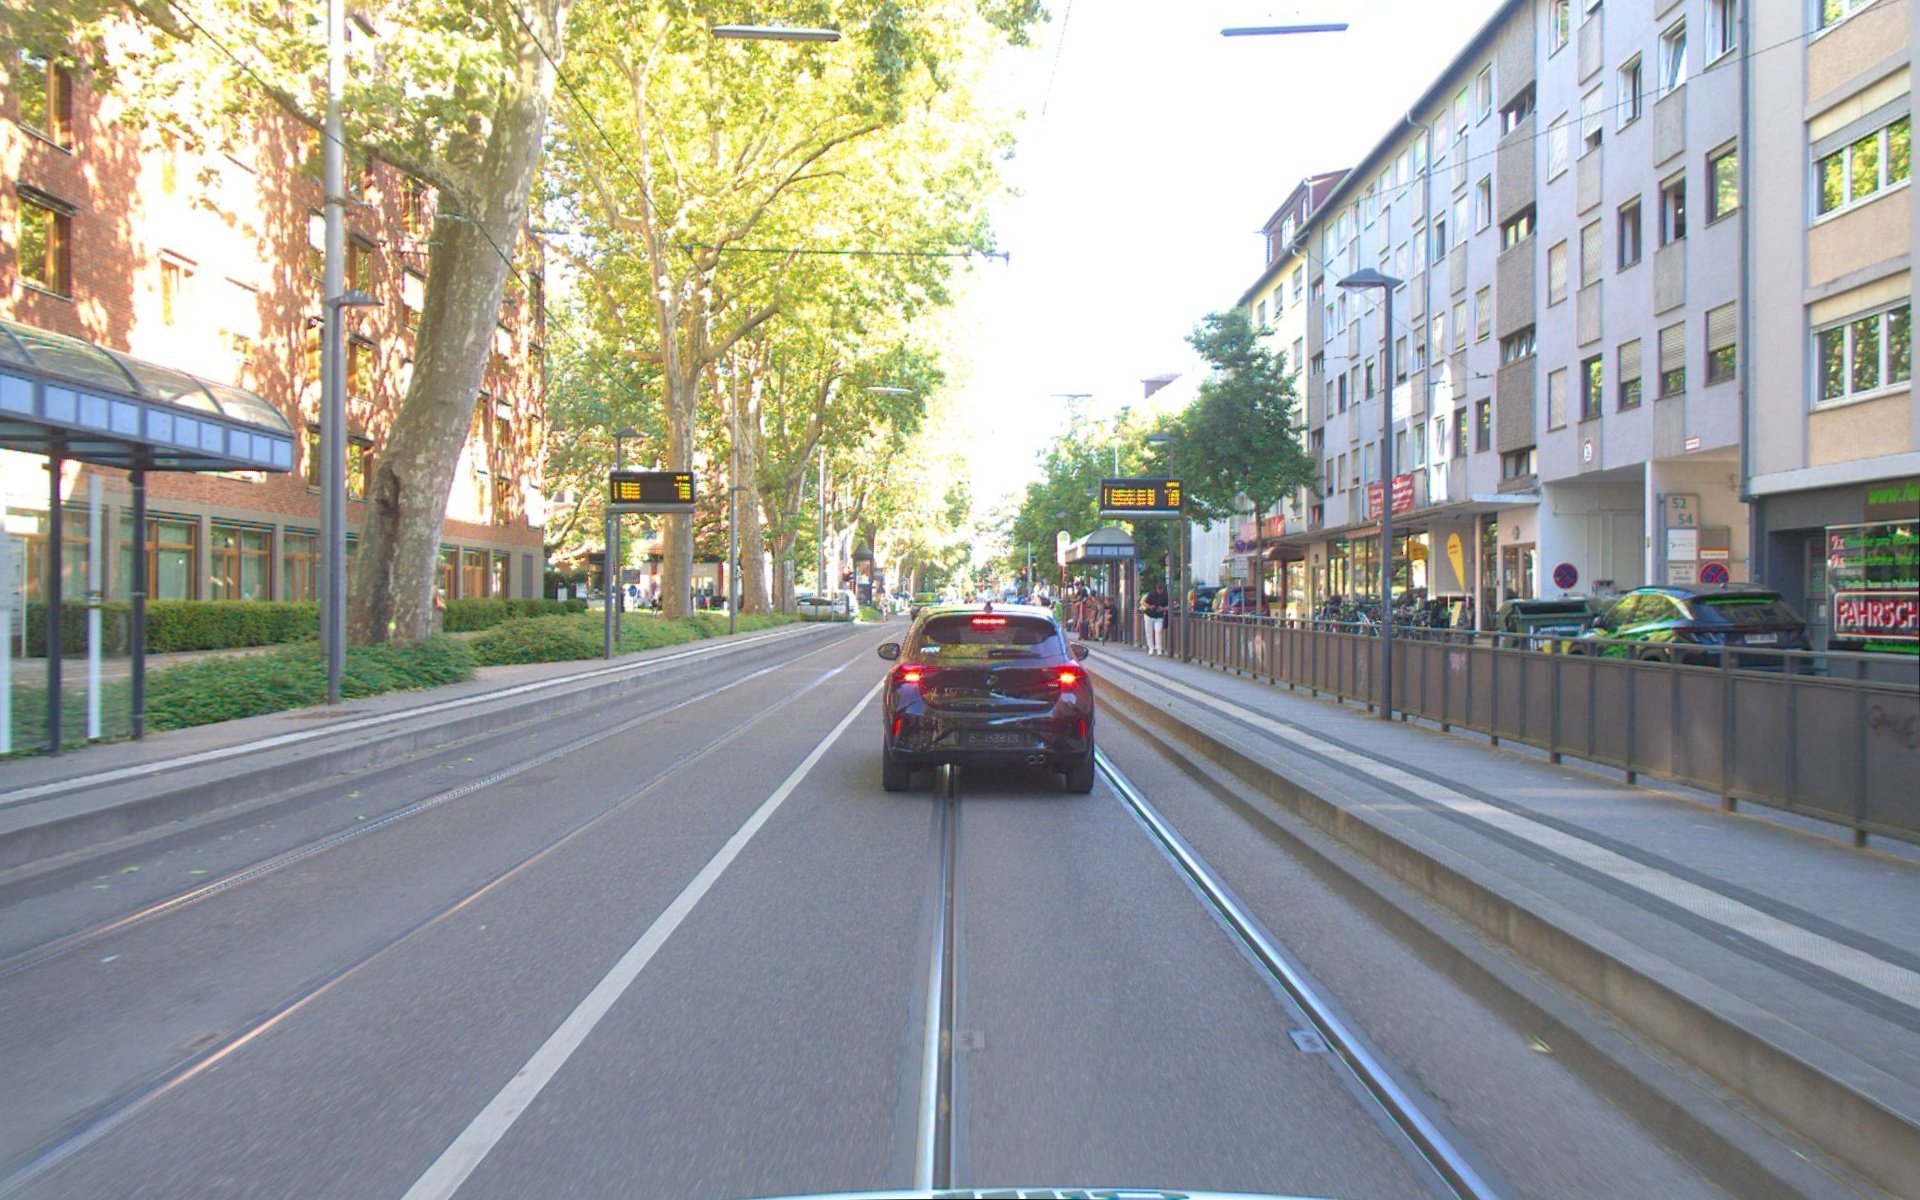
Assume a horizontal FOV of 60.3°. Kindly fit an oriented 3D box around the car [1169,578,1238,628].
[{"bbox_3d":[9.224,0.124,62.955,1.953,1.829,3.999,1,0,-1],"label":"car"}]

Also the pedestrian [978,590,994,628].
[{"bbox_3d":[1.421,0.494,89.523,0.661,2.049,0.702,2,0,11],"label":"pedestrian"}]

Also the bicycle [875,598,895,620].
[{"bbox_3d":[-4.536,0.541,100.123,0.935,1.262,2.978,1,0,3],"label":"bicycle"}]

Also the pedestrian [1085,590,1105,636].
[{"bbox_3d":[3.883,0.370,47.446,0.493,1.327,0.428,1,-1,-4],"label":"pedestrian"}]

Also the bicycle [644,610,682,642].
[{"bbox_3d":[-11.759,1.016,65.591,0.935,1.262,2.977,1,0,0],"label":"bicycle"}]

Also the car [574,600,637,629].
[{"bbox_3d":[-26.051,1.093,121.663,4.163,2.049,2.000,1,-1,-1],"label":"car"}]

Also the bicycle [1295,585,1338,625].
[{"bbox_3d":[10.581,0.162,49.089,0.586,1.156,2.201,1,0,-6],"label":"bicycle"}]

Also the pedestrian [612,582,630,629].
[{"bbox_3d":[-14.395,0.227,70.160,0.486,1.984,0.675,1,-1,12],"label":"pedestrian"}]

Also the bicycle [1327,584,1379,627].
[{"bbox_3d":[11.075,0.155,46.685,0.586,1.156,2.198,1,0,-11],"label":"bicycle"}]

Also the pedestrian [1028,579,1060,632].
[{"bbox_3d":[2.778,0.171,54.811,0.736,1.739,0.761,0,-1,34],"label":"pedestrian"}]

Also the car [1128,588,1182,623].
[{"bbox_3d":[8.829,0.240,75.006,1.953,1.512,4.000,1,0,0],"label":"car"}]

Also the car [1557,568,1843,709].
[{"bbox_3d":[9.634,0.472,21.946,1.819,1.644,4.397,1,0,0],"label":"car"}]

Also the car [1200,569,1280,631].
[{"bbox_3d":[9.495,0.009,56.342,1.953,1.986,3.999,1,0,-1],"label":"car"}]

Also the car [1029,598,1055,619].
[{"bbox_3d":[6.893,0.714,139.613,1.953,1.661,4.000,1,0,0],"label":"car"}]

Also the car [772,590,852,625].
[{"bbox_3d":[-7.729,0.409,86.141,4.036,1.731,1.880,1,-1,-8],"label":"car"}]

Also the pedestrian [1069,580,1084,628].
[{"bbox_3d":[4.242,0.143,60.272,0.520,1.739,0.596,1,-1,2],"label":"pedestrian"}]

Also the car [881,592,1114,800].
[{"bbox_3d":[0.213,0.720,14.134,1.724,1.534,3.681,0,0,-2],"label":"car"}]

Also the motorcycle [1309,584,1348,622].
[{"bbox_3d":[12.700,0.108,57.018,0.873,1.302,2.043,1,0,0],"label":"motorcycle"}]

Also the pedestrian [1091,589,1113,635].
[{"bbox_3d":[4.117,0.339,48.034,0.523,1.327,0.550,1,-1,-4],"label":"pedestrian"}]

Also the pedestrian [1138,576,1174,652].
[{"bbox_3d":[4.239,0.296,35.773,0.618,1.603,0.870,2,0,0],"label":"pedestrian"}]

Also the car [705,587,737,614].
[{"bbox_3d":[-18.781,0.023,130.029,1.953,2.049,4.000,1,0,0],"label":"car"}]

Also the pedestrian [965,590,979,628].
[{"bbox_3d":[0.661,0.493,89.672,0.661,2.049,0.701,2,0,6],"label":"pedestrian"}]

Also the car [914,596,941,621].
[{"bbox_3d":[-2.139,0.573,108.356,1.710,1.571,3.998,1,0,-2],"label":"car"}]

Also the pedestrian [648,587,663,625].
[{"bbox_3d":[-16.106,0.337,87.472,0.659,1.984,0.498,2,0,-4],"label":"pedestrian"}]

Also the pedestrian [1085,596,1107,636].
[{"bbox_3d":[3.859,0.443,46.865,0.523,1.119,0.550,1,-1,-4],"label":"pedestrian"}]

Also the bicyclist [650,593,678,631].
[{"bbox_3d":[-11.750,0.474,65.676,0.935,1.518,0.837,1,-1,0],"label":"bicyclist"}]

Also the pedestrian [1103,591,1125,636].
[{"bbox_3d":[4.314,0.384,46.324,0.523,1.252,0.510,1,-1,-4],"label":"pedestrian"}]

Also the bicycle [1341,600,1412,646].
[{"bbox_3d":[10.815,0.584,43.084,0.600,1.156,2.913,1,0,-11],"label":"bicycle"}]

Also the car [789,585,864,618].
[{"bbox_3d":[-7.887,0.100,97.381,4.302,1.884,1.997,1,-1,-8],"label":"car"}]

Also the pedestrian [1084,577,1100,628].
[{"bbox_3d":[4.751,0.090,59.515,0.520,1.793,0.661,1,-1,2],"label":"pedestrian"}]

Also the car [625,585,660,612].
[{"bbox_3d":[-24.823,-0.118,129.421,1.953,2.049,4.000,1,0,0],"label":"car"}]

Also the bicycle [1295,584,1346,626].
[{"bbox_3d":[10.378,0.150,47.691,0.586,1.156,2.198,1,0,-11],"label":"bicycle"}]

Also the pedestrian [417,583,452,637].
[{"bbox_3d":[-16.175,0.301,50.936,0.759,1.633,0.946,1,-1,0],"label":"pedestrian"}]

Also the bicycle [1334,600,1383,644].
[{"bbox_3d":[10.891,0.595,45.248,0.403,1.156,2.198,1,0,-11],"label":"bicycle"}]

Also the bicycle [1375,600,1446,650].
[{"bbox_3d":[10.768,0.589,39.639,0.610,1.156,2.432,1,0,-11],"label":"bicycle"}]

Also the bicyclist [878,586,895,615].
[{"bbox_3d":[-4.481,0.025,101.034,0.921,1.733,1.153,1,-1,3],"label":"bicyclist"}]

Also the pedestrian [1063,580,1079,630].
[{"bbox_3d":[3.955,0.178,58.844,0.520,1.739,0.752,1,-1,2],"label":"pedestrian"}]

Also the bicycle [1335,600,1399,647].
[{"bbox_3d":[10.324,0.584,42.057,0.591,1.156,2.428,1,0,-11],"label":"bicycle"}]
